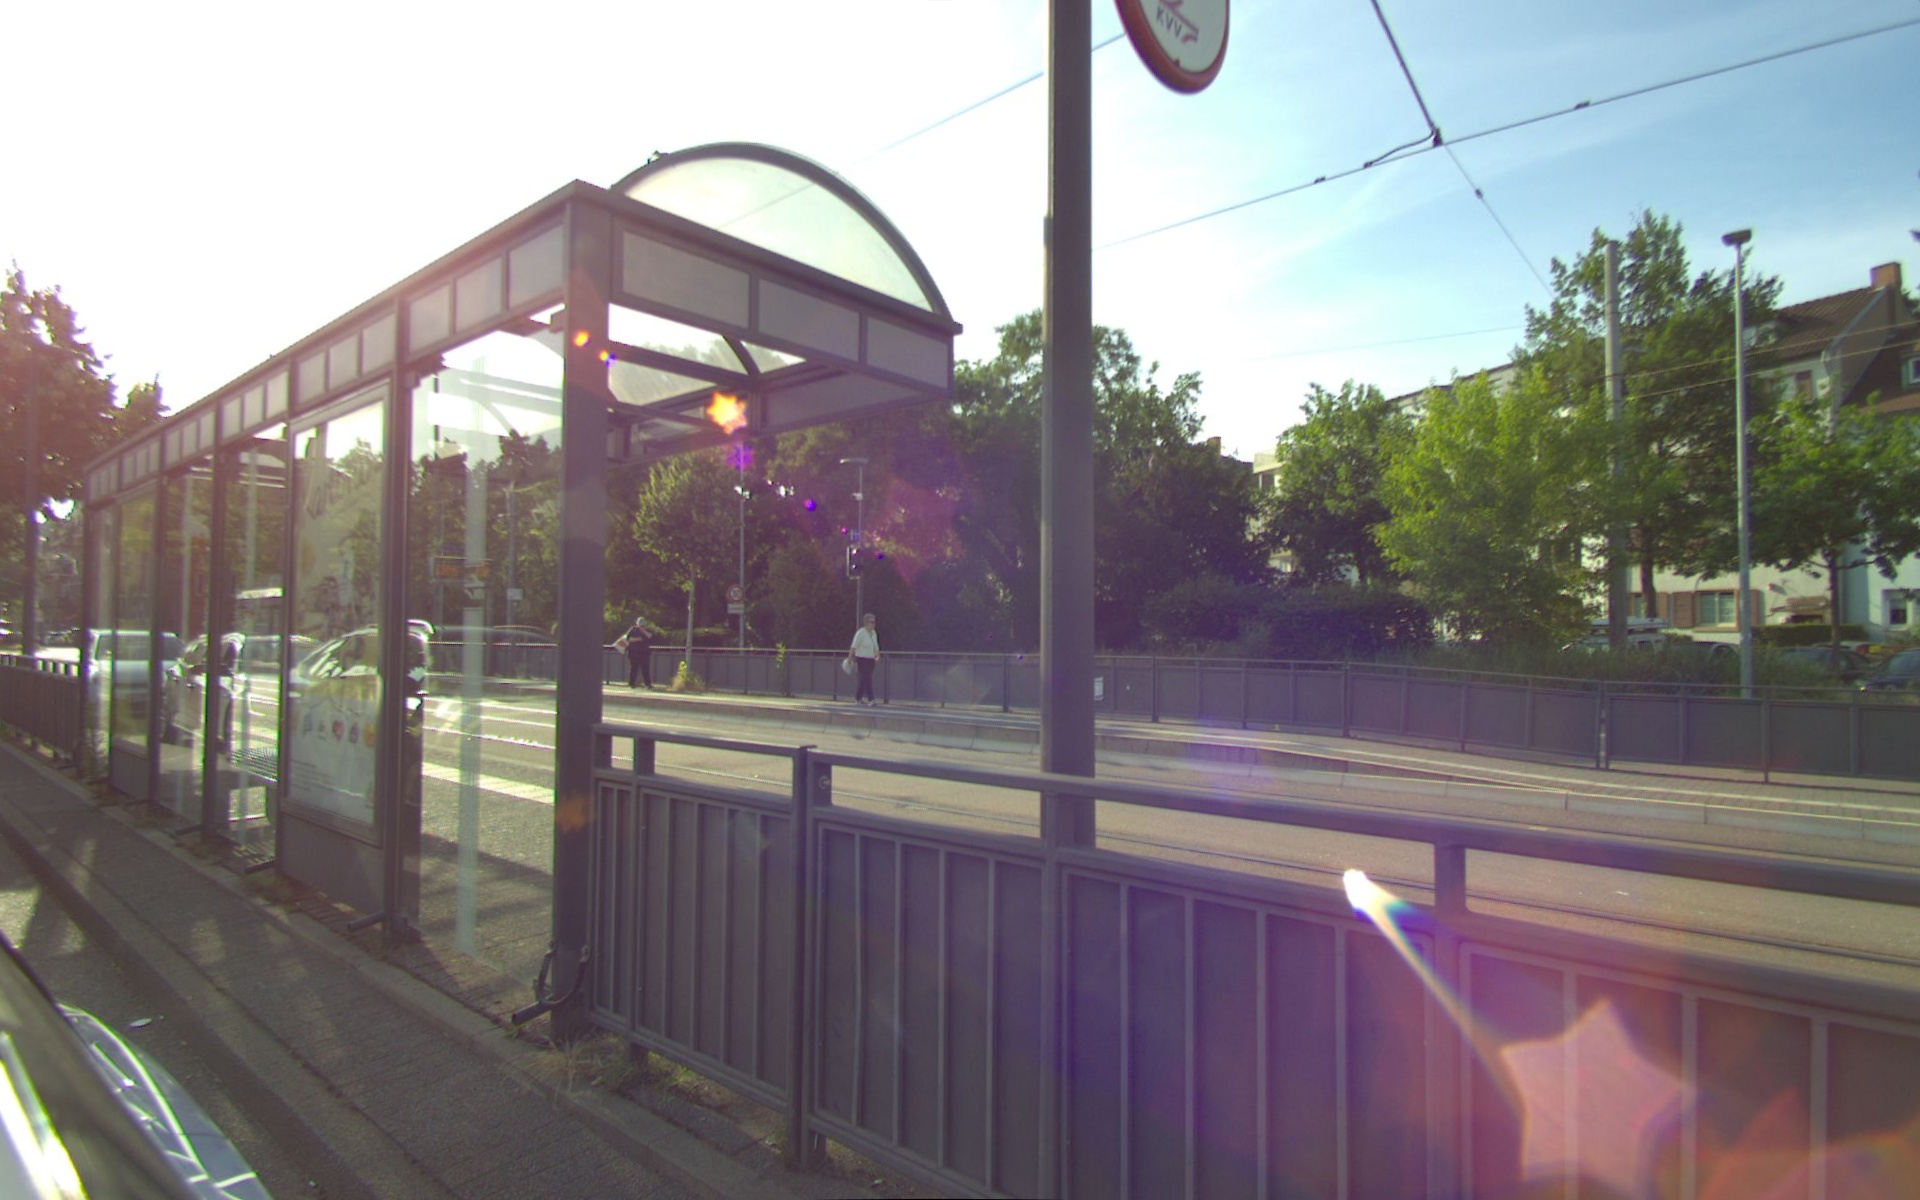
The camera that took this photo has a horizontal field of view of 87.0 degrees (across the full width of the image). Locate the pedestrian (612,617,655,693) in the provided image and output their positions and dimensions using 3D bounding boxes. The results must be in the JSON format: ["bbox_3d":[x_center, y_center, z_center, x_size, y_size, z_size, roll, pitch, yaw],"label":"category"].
[{"bbox_3d":[-7.415,1.249,22.986,0.618,1.697,0.613,-2,-6,41],"label":"pedestrian"}]

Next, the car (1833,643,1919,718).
[{"bbox_3d":[19.630,1.596,20.608,3.935,1.409,2.004,2,-3,-37],"label":"car"}]

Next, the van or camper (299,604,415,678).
[{"bbox_3d":[-26.233,1.683,43.902,6.408,2.990,2.494,-1,0,41],"label":"van or camper"}]

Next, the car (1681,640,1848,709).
[{"bbox_3d":[18.178,1.619,22.835,3.935,1.409,2.004,2,-3,-37],"label":"car"}]

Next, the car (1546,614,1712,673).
[{"bbox_3d":[18.132,1.191,27.450,3.930,1.497,1.854,1,-3,-22],"label":"car"}]

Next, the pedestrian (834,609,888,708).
[{"bbox_3d":[-1.735,1.032,17.782,0.618,1.697,0.613,-2,-6,41],"label":"pedestrian"}]

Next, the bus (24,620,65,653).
[{"bbox_3d":[-102.634,4.059,113.376,9.258,3.461,2.405,-1,0,41],"label":"bus"}]
